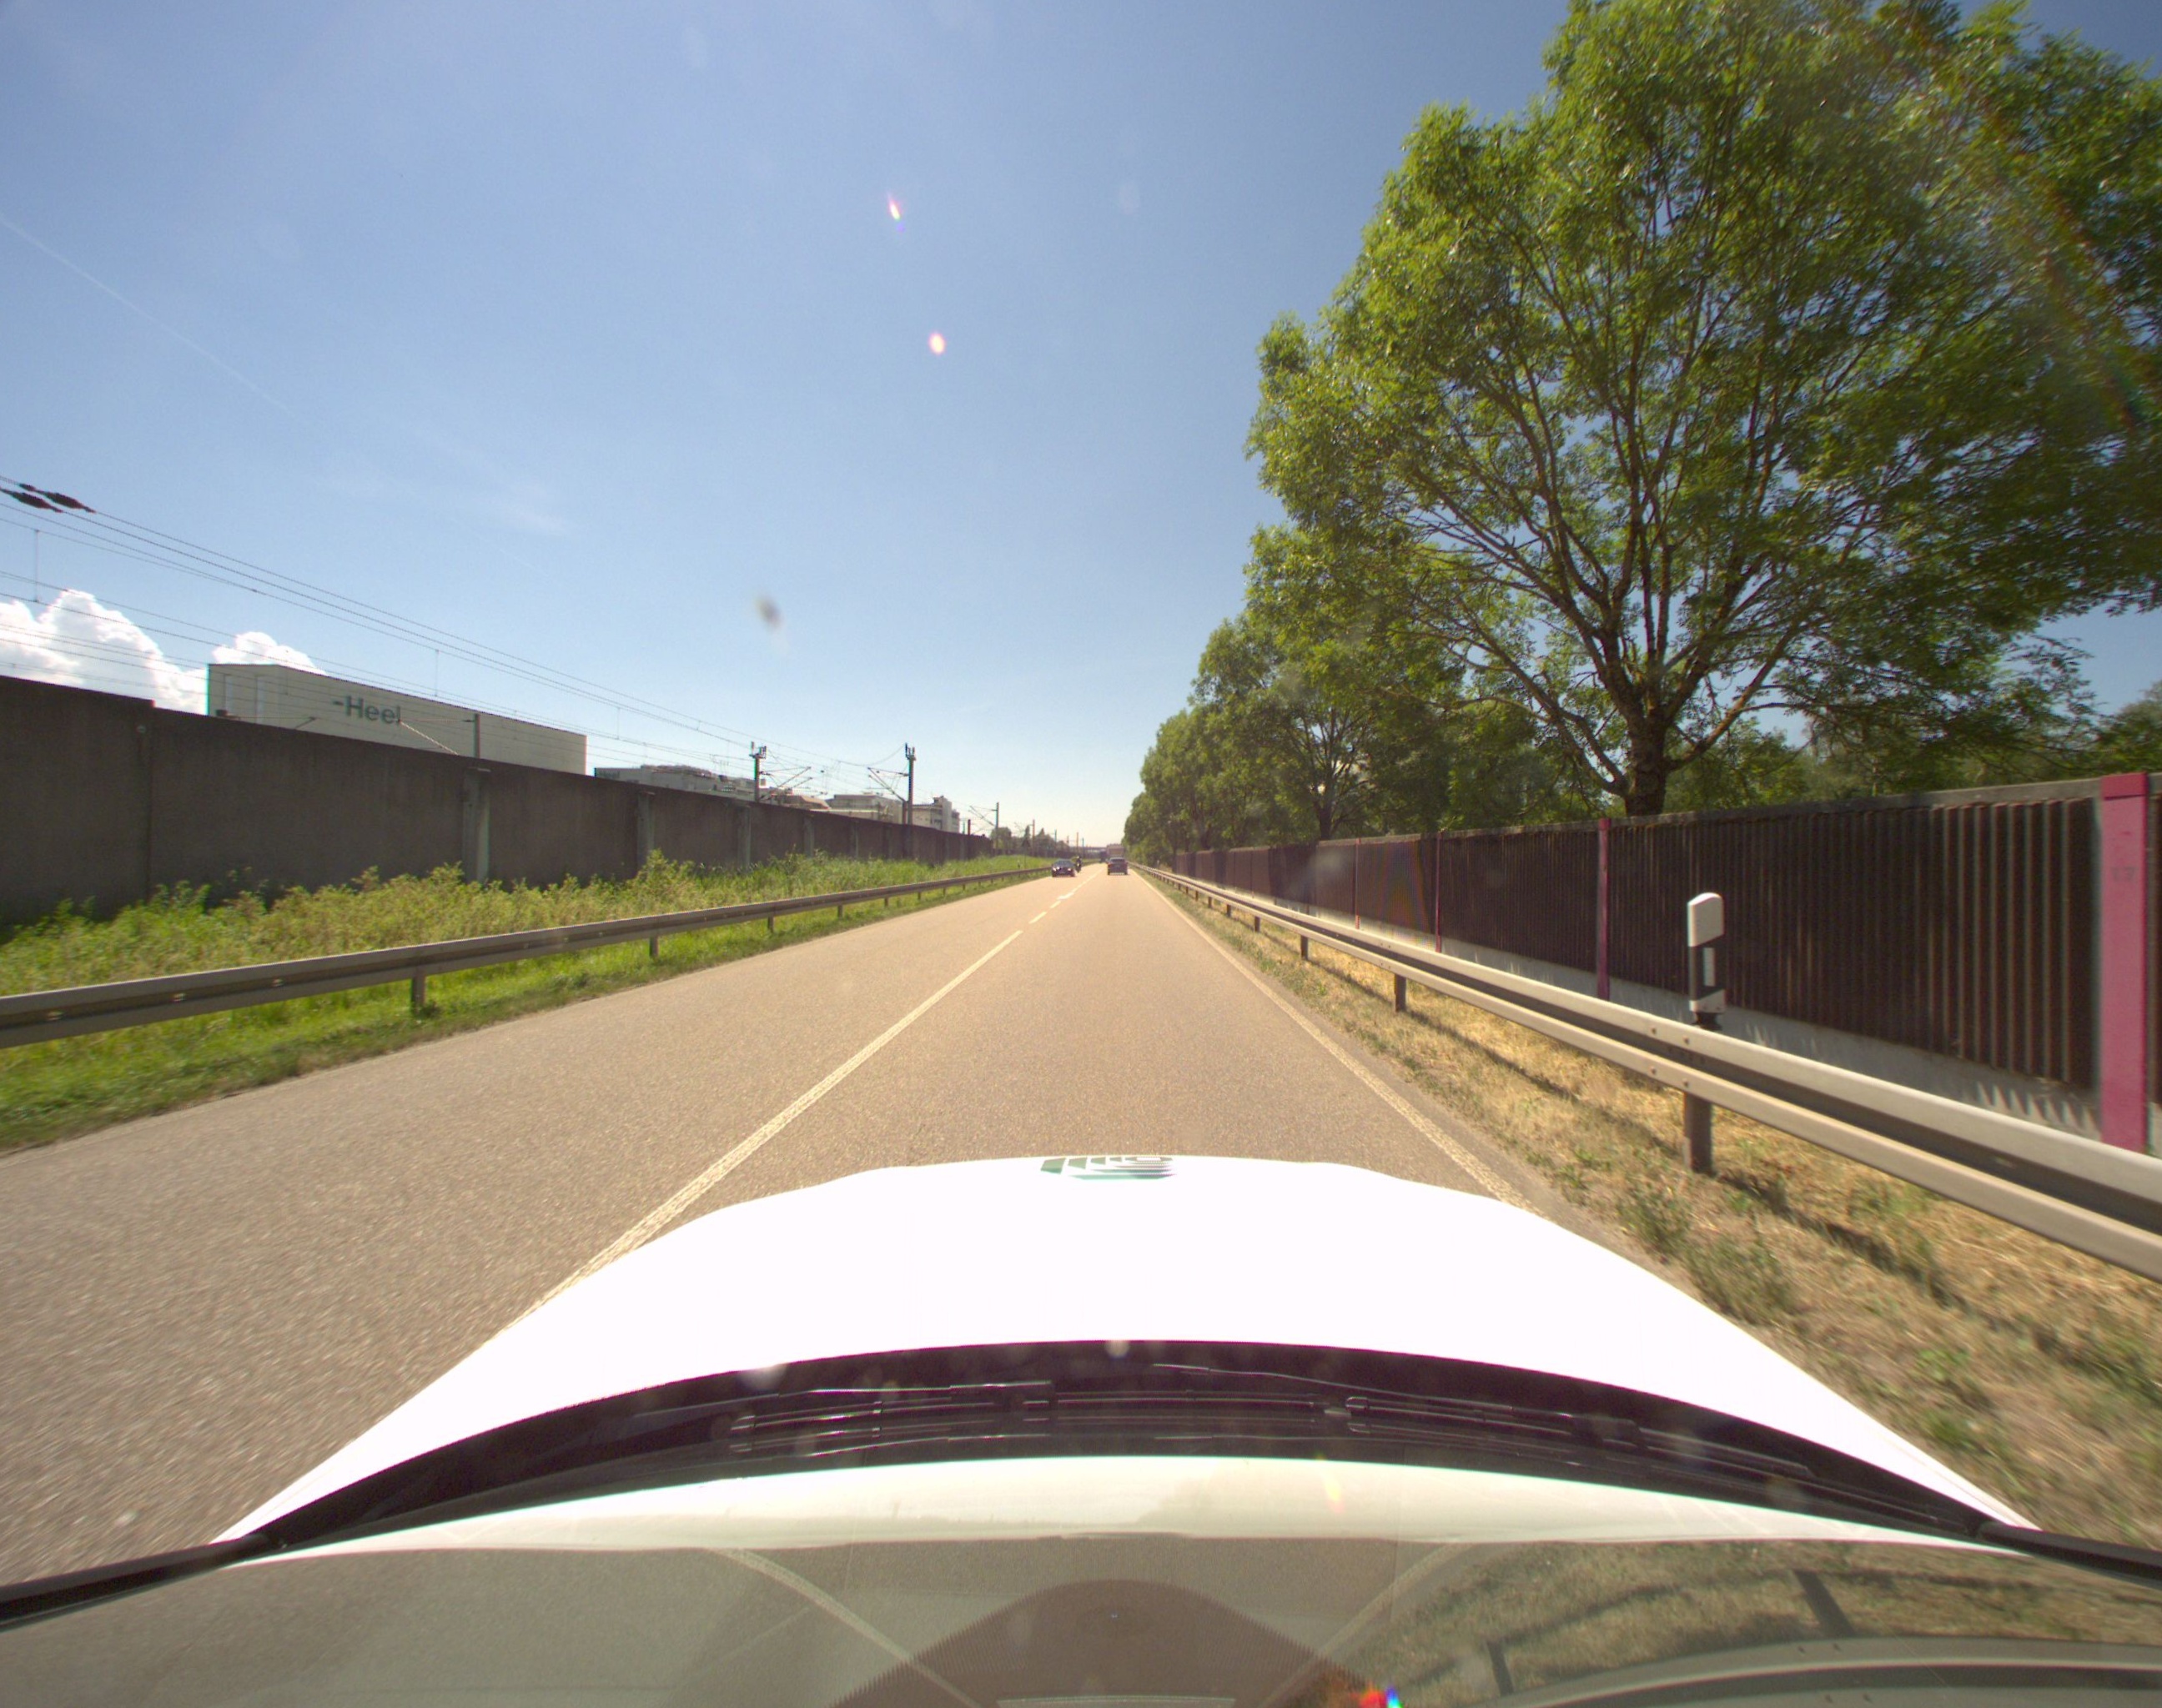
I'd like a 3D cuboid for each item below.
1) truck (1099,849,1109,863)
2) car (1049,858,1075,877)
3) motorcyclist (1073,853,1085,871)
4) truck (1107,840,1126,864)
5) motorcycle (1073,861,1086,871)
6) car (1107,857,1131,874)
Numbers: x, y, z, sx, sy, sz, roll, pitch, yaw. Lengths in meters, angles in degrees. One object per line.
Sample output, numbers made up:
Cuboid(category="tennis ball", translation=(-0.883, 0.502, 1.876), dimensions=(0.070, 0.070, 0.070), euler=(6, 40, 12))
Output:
Cuboid(category="truck", translation=(6.797, 0.559, 241.060), dimensions=(2.786, 3.978, 10.505), euler=(0, 0, 2))
Cuboid(category="car", translation=(-1.534, 1.085, 68.050), dimensions=(1.986, 1.508, 4.000), euler=(-1, 0, 1))
Cuboid(category="motorcyclist", translation=(-0.183, 0.866, 88.303), dimensions=(1.249, 1.864, 1.246), euler=(-1, -1, 2))
Cuboid(category="truck", translation=(5.249, -0.189, 120.850), dimensions=(2.759, 3.425, 10.825), euler=(0, -1, 2))
Cuboid(category="motorcycle", translation=(-0.182, 1.283, 88.355), dimensions=(1.232, 1.072, 3.130), euler=(-1, 0, 2))
Cuboid(category="car", translation=(3.427, 1.036, 74.334), dimensions=(1.987, 1.508, 4.000), euler=(-1, 0, 0))
